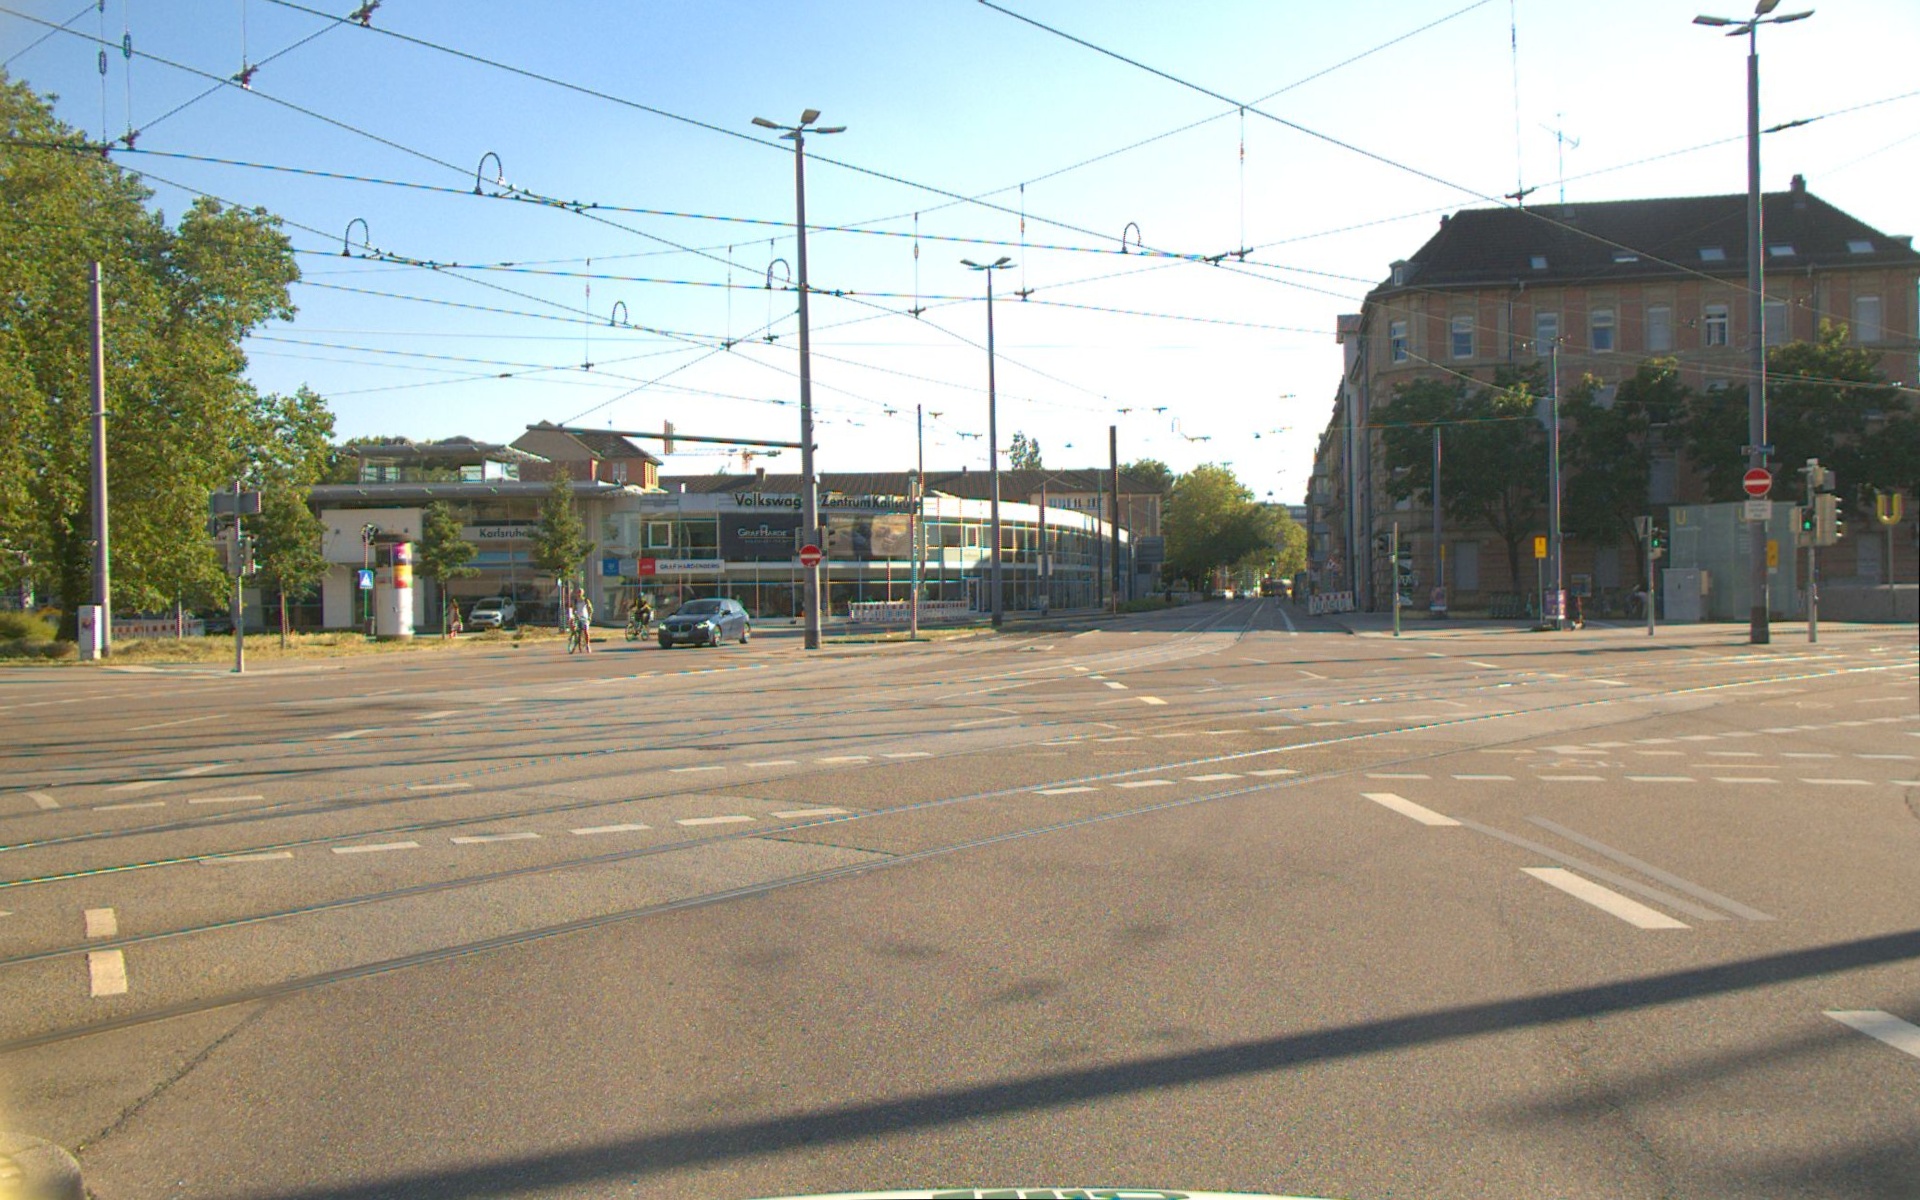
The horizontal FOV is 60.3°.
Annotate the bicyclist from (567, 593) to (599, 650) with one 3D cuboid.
[{"bbox_3d":[-11.128,0.631,48.822,0.585,1.644,0.823,0,-1,16],"label":"bicyclist"}]

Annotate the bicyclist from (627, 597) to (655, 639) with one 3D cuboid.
[{"bbox_3d":[-12.296,0.691,63.781,0.641,1.600,0.921,0,-1,27],"label":"bicyclist"}]

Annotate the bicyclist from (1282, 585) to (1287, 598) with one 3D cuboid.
[{"bbox_3d":[28.047,-0.755,142.793,0.399,1.136,0.399,0,-1,9],"label":"bicyclist"}]

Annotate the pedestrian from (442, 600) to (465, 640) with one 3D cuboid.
[{"bbox_3d":[-21.960,0.851,71.745,0.839,1.724,0.496,1,-1,-5],"label":"pedestrian"}]

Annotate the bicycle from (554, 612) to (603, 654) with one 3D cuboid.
[{"bbox_3d":[-11.193,0.958,48.570,0.599,1.210,1.870,0,-1,15],"label":"bicycle"}]

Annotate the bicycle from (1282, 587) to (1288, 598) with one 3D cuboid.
[{"bbox_3d":[28.046,-0.660,142.752,0.401,0.958,1.847,0,-1,10],"label":"bicycle"}]

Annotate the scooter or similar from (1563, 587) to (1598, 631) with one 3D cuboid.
[{"bbox_3d":[19.990,0.304,53.276,0.769,1.400,1.910,0,-1,12],"label":"scooter or similar"}]

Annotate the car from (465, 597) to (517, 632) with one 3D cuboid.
[{"bbox_3d":[-24.706,0.780,87.266,1.955,1.780,3.995,1,-1,-6],"label":"car"}]

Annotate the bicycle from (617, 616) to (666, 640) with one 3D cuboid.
[{"bbox_3d":[-12.275,1.071,63.850,0.626,0.886,2.232,0,-1,27],"label":"bicycle"}]

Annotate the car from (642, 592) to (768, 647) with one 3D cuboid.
[{"bbox_3d":[-7.769,0.604,50.711,1.954,1.613,3.997,0,-1,24],"label":"car"}]
